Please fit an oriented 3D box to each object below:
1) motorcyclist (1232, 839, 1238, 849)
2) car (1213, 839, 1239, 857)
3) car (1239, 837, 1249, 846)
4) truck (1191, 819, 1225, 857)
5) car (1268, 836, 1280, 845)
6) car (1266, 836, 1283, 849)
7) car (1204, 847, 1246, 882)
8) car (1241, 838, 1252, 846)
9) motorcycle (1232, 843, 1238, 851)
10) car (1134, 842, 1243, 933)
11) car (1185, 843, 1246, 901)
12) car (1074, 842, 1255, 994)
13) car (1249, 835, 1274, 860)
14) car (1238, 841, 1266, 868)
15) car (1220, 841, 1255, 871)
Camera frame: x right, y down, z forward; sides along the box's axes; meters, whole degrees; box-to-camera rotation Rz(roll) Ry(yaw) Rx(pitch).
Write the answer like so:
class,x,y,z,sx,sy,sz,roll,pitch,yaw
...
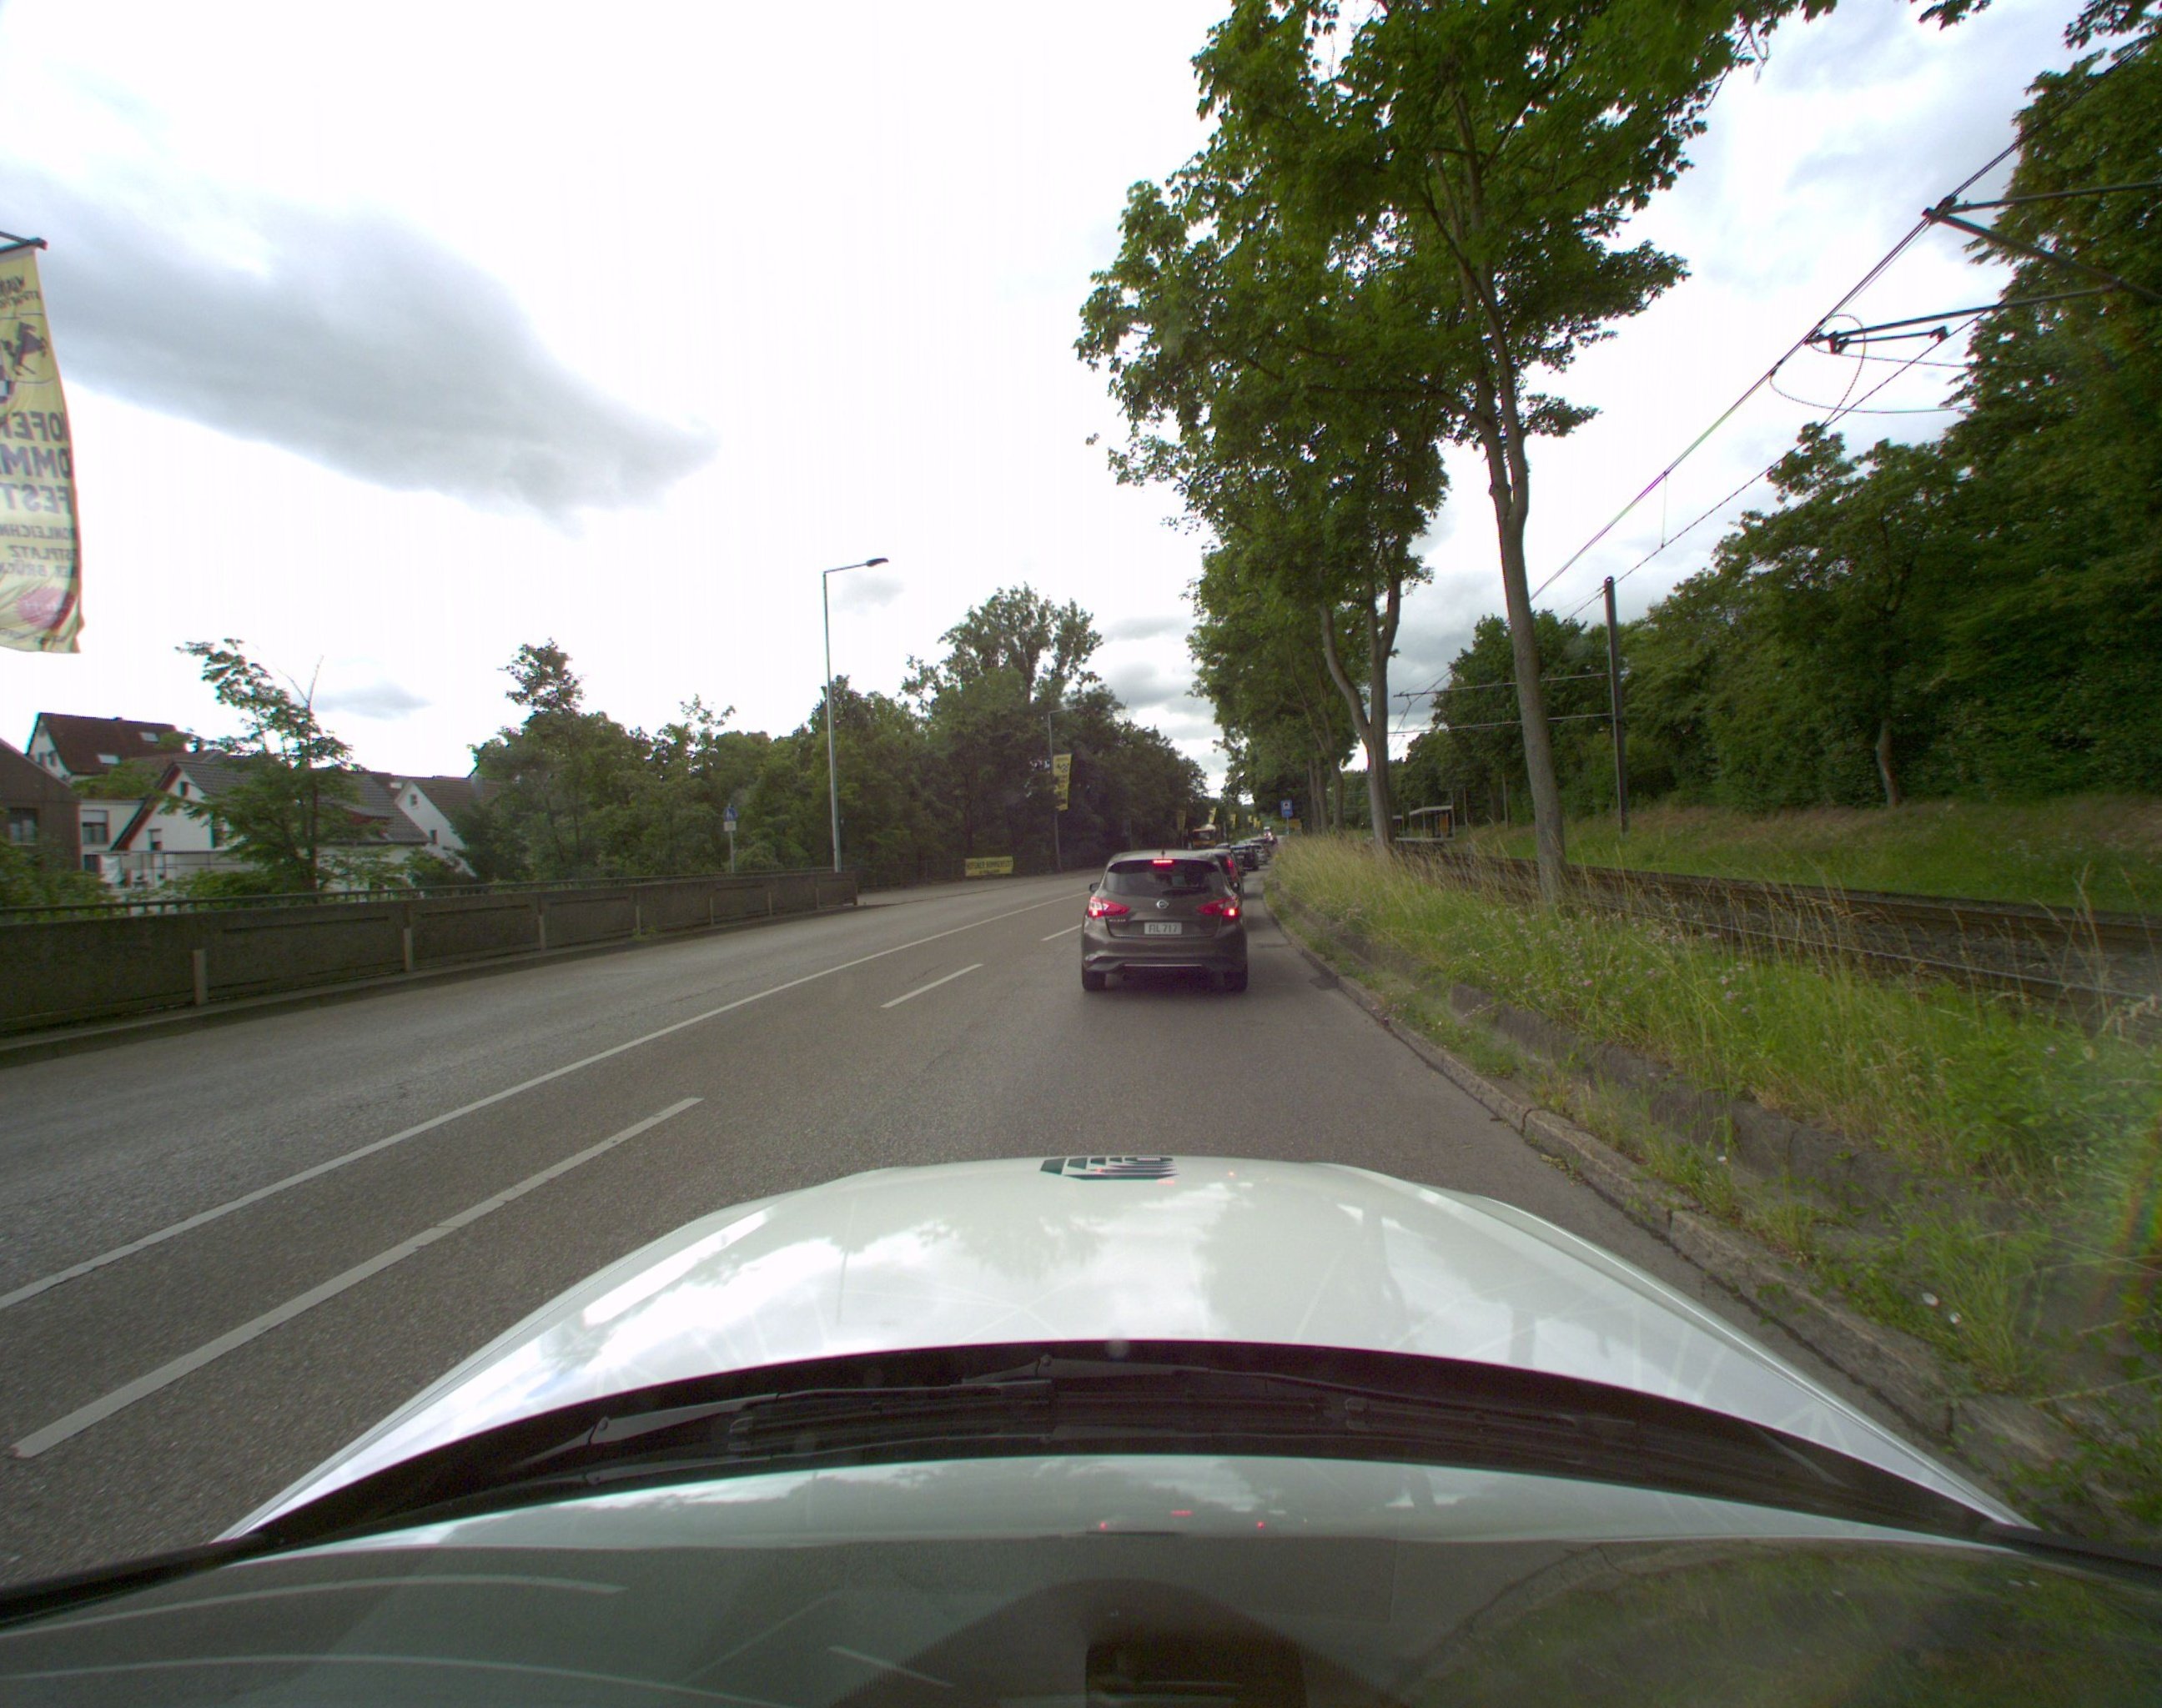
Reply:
class,x,y,z,sx,sy,sz,roll,pitch,yaw
motorcyclist,22.874,-1.475,121.191,0.739,1.539,0.794,-2,0,15
car,12.911,-0.535,72.349,1.838,1.486,4.438,-3,-1,14
car,29.804,-2.305,148.940,1.709,1.442,4.014,-3,-1,13
truck,14.213,-1.727,90.549,2.635,3.938,10.151,-2,0,14
car,35.332,-2.486,149.059,1.877,1.653,4.016,-2,0,15
car,24.161,-1.424,101.531,1.877,1.445,3.822,-2,0,15
car,6.311,0.428,35.496,1.490,1.364,3.600,-3,-1,14
car,32.489,-2.434,159.748,1.804,1.462,4.016,-3,0,15
motorcycle,22.890,-1.038,121.182,0.739,1.033,1.896,-2,0,16
car,2.173,0.634,16.560,1.882,1.574,4.008,-2,-1,7
car,4.073,0.504,24.475,1.568,1.538,4.012,-3,-1,10
car,1.029,0.667,10.076,1.766,1.494,4.006,-1,-1,6
car,15.694,-0.568,70.667,1.877,2.013,4.016,-2,0,15
car,12.013,0.088,57.100,1.706,1.693,4.014,-3,-2,13
car,8.640,0.115,44.719,1.792,1.540,4.013,-1,0,12
